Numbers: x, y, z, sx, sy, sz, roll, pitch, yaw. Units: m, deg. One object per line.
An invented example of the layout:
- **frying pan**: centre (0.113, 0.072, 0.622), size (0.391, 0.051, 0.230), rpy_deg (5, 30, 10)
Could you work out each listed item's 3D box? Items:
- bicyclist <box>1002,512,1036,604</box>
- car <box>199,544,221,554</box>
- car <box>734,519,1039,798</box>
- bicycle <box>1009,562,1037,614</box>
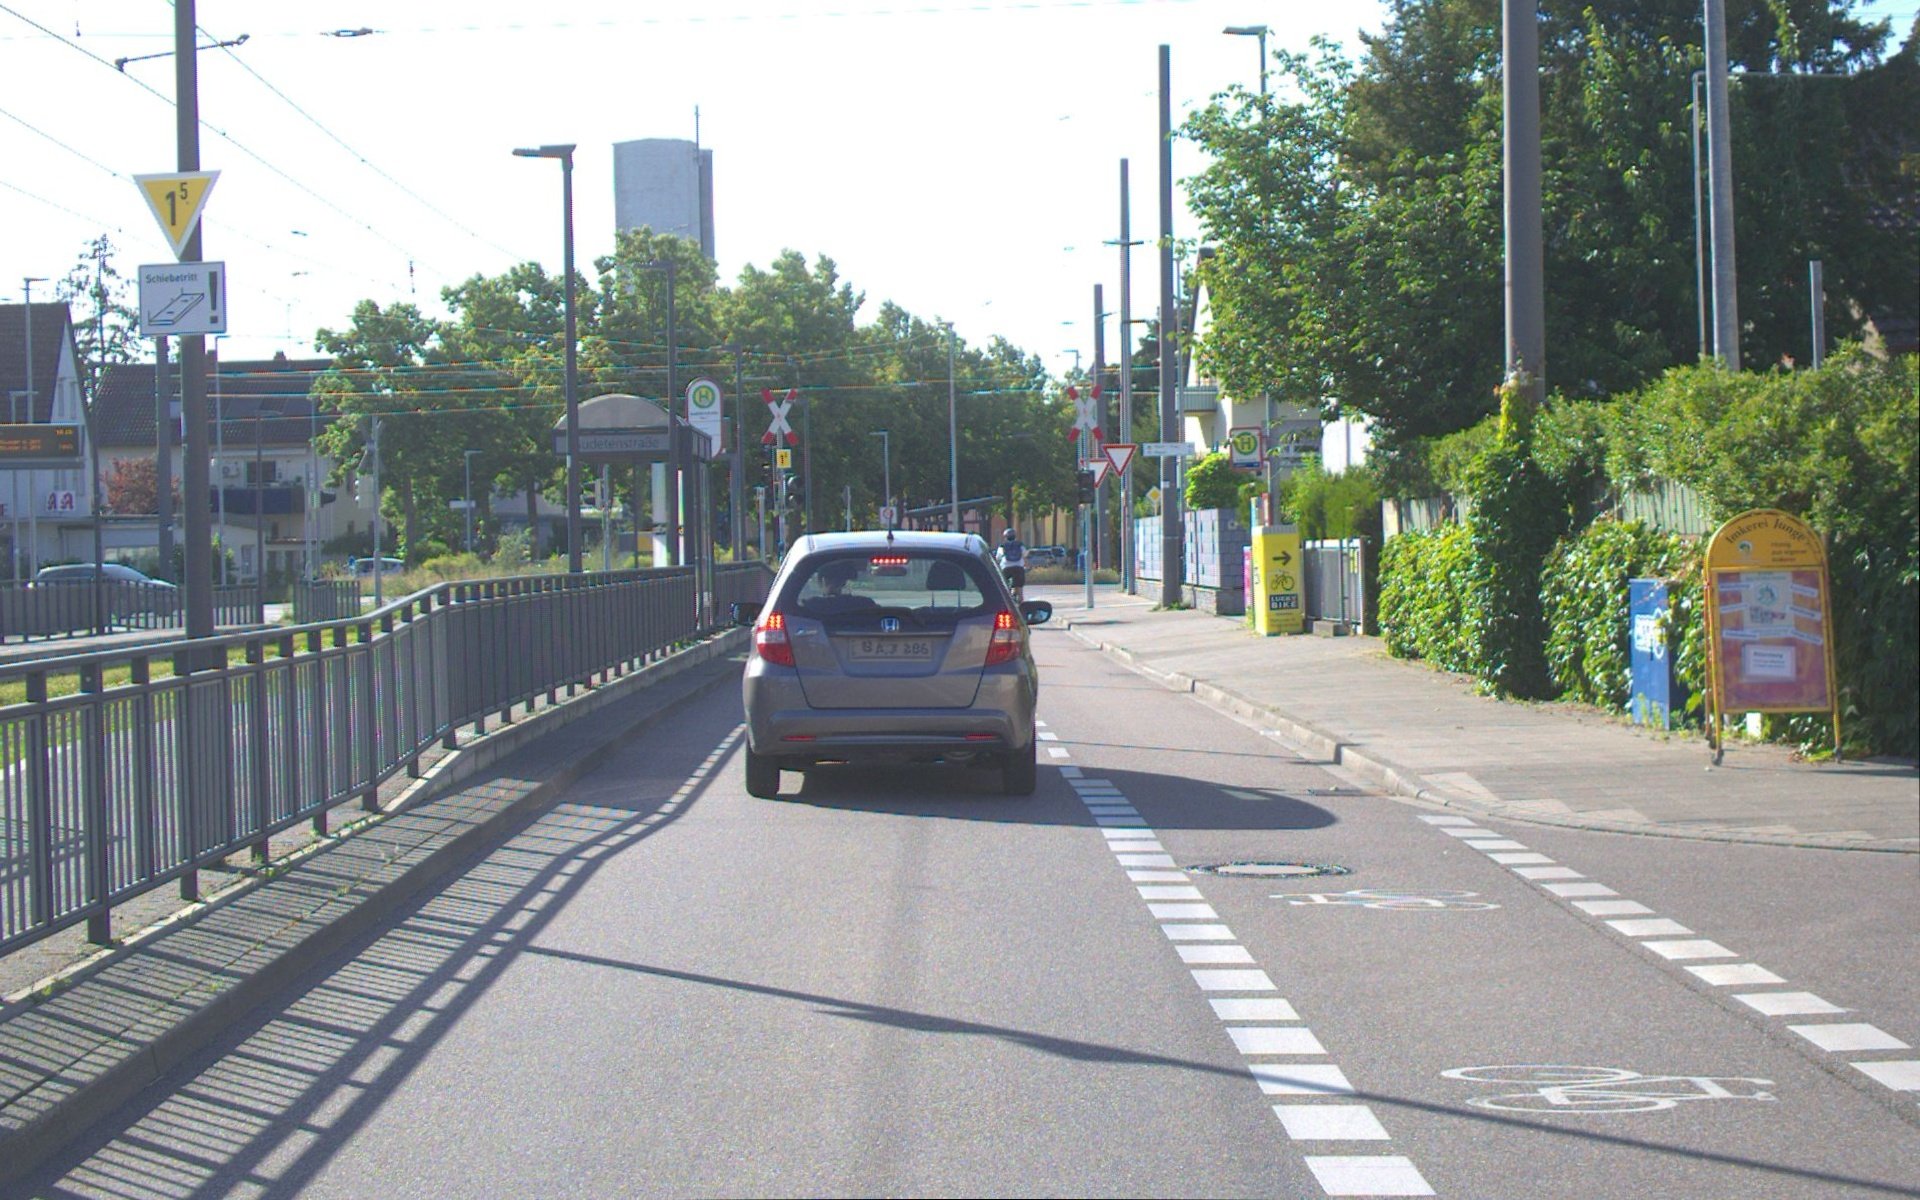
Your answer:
- **bicyclist**: centre (1.098, -0.777, 63.975), size (0.598, 1.695, 0.683), rpy_deg (0, 0, 0)
- **car**: centre (-26.177, -1.781, 119.998), size (0.699, 0.335, 0.329), rpy_deg (0, 0, 4)
- **car**: centre (-0.447, 0.290, 20.672), size (1.670, 1.530, 3.487), rpy_deg (0, 1, -1)
- **bicycle**: centre (1.181, -0.234, 64.294), size (0.475, 0.958, 1.657), rpy_deg (0, 0, 0)
